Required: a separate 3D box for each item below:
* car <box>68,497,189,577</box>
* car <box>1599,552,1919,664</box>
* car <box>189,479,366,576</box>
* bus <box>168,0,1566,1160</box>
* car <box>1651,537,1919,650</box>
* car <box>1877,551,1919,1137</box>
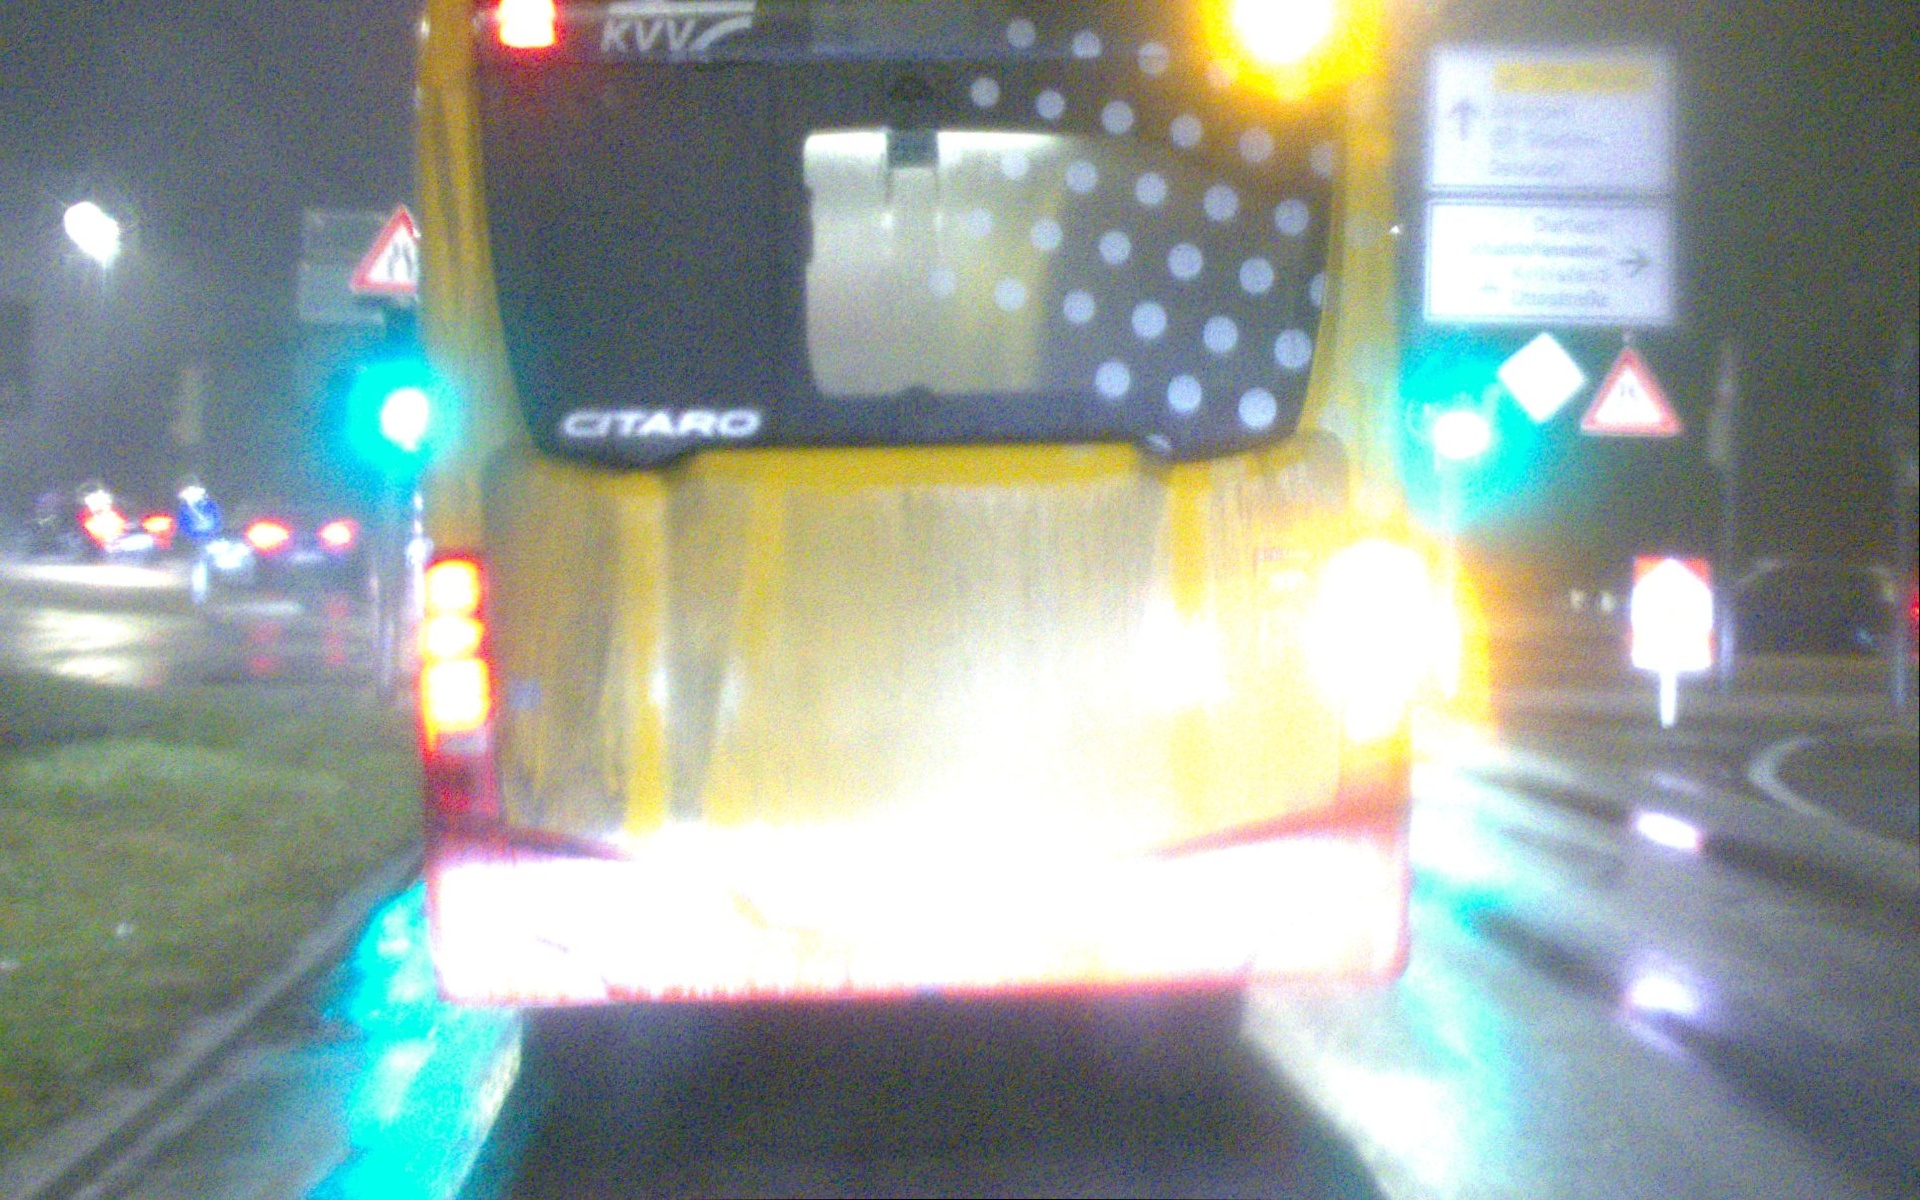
[{"bbox_3d":[-17.848,-1.338,73.667,1.815,1.612,4.001,2,0,-24],"label":"car"},{"bbox_3d":[11.023,0.096,47.196,4.041,1.341,1.747,2,2,-5],"label":"car"},{"bbox_3d":[-12.073,-1.271,60.673,1.816,1.612,4.000,2,0,-30],"label":"car"},{"bbox_3d":[-0.484,-0.357,12.874,3.284,3.040,9.546,0,2,-3],"label":"bus"},{"bbox_3d":[12.873,-0.088,51.642,4.482,1.513,1.857,2,2,-5],"label":"car"},{"bbox_3d":[3.358,0.658,7.319,1.677,1.516,3.960,2,0,-1],"label":"car"}]
